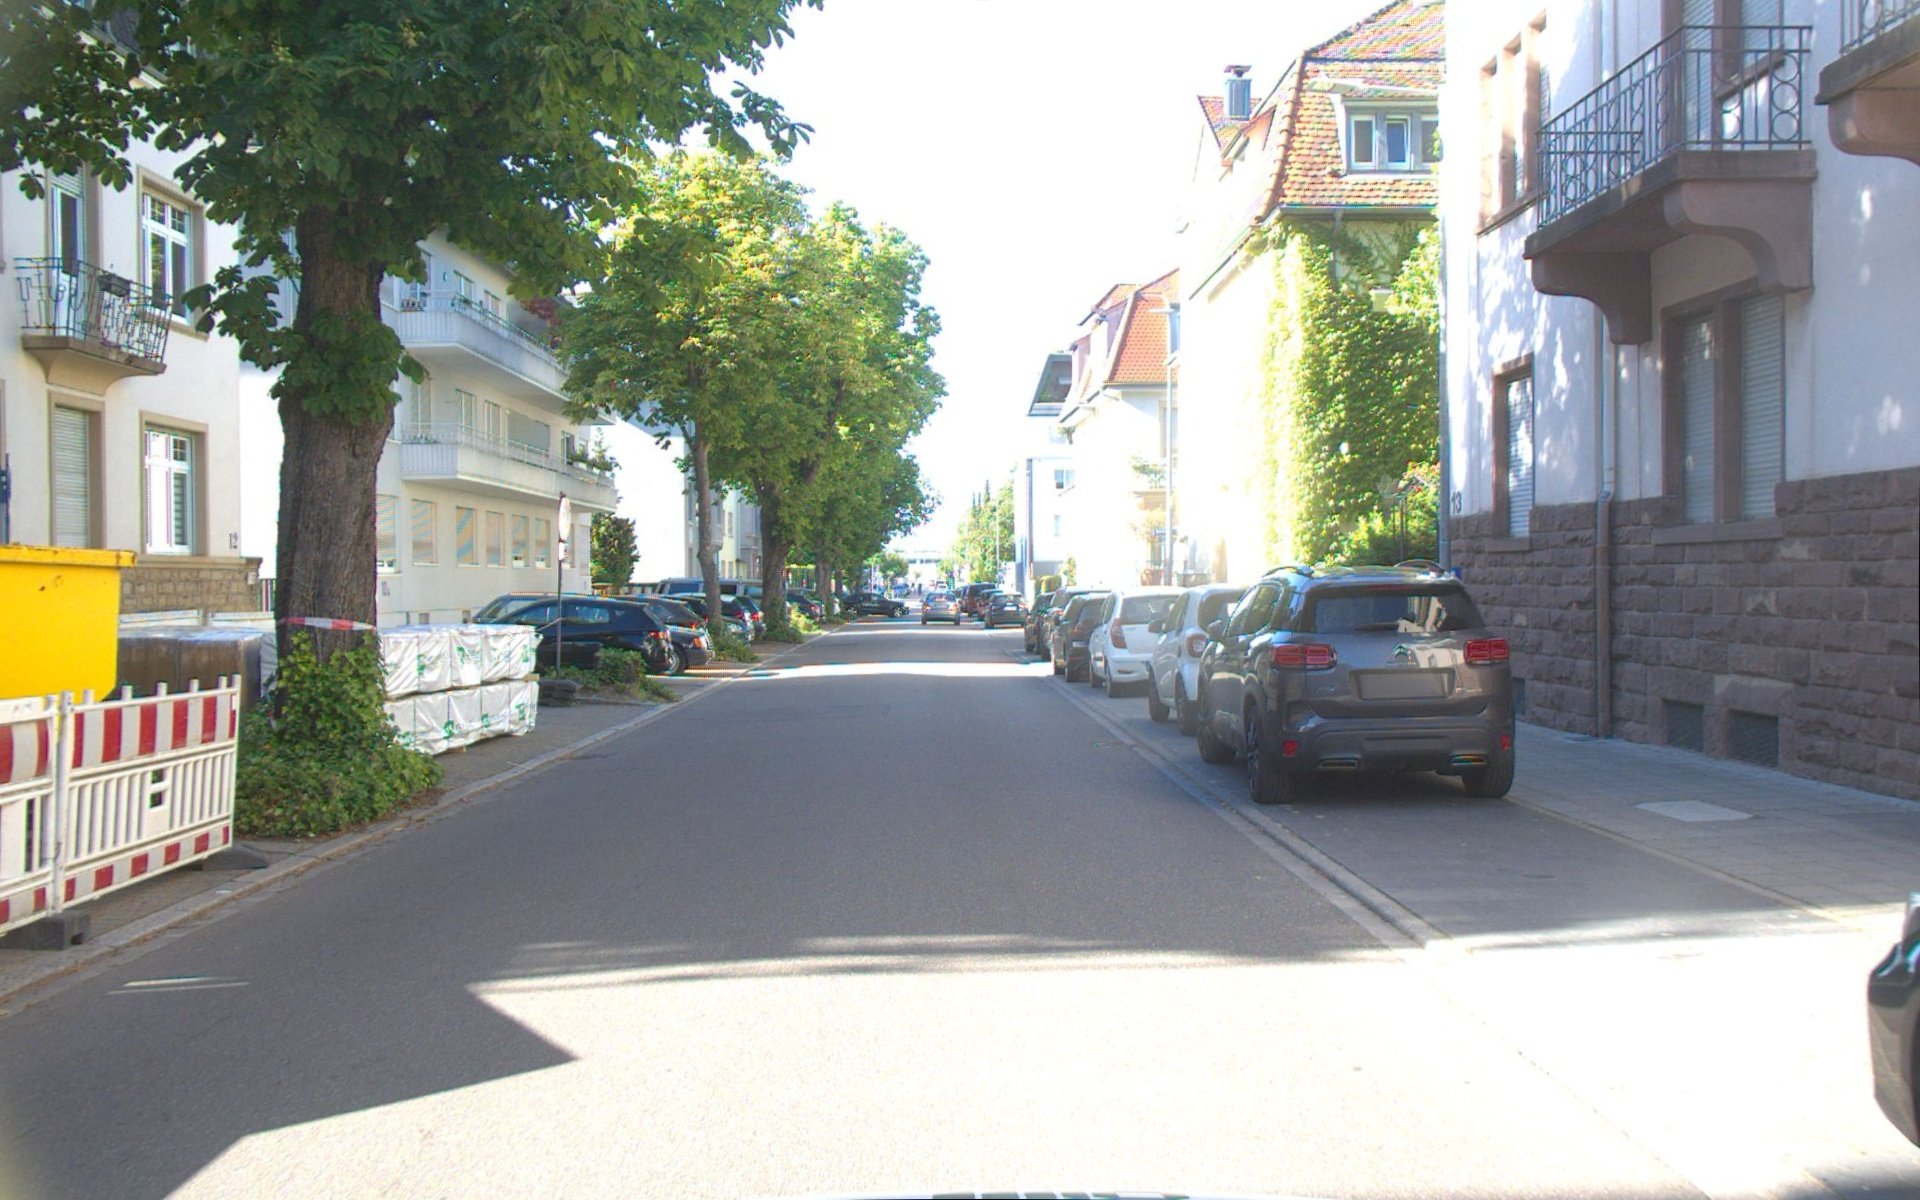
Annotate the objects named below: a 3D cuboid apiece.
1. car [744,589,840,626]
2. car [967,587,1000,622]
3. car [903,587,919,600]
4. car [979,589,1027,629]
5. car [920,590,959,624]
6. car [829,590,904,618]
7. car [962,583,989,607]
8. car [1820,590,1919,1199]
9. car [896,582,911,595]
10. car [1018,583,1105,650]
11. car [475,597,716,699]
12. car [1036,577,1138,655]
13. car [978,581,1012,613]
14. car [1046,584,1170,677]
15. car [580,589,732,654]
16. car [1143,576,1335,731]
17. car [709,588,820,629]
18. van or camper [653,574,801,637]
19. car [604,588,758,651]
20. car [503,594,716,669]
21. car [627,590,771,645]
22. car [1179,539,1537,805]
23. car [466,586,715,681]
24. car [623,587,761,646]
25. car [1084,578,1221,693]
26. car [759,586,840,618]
[{"bbox_3d":[-7.031,0.309,69.459,3.906,1.494,1.696,-1,0,-2],"label":"car"},{"bbox_3d":[1.340,0.261,96.590,1.833,1.938,5.197,-2,0,0],"label":"car"},{"bbox_3d":[-6.449,-0.857,217.144,1.836,1.758,3.995,-1,1,-6],"label":"car"},{"bbox_3d":[1.720,0.342,67.349,1.587,1.465,3.933,-3,1,-3],"label":"car"},{"bbox_3d":[-0.928,0.287,75.093,1.691,1.445,3.960,-1,0,0],"label":"car"},{"bbox_3d":[-5.322,0.240,94.362,4.103,1.473,1.712,2,-1,0],"label":"car"},{"bbox_3d":[1.053,-0.343,112.672,1.701,1.558,4.177,-1,0,-1],"label":"car"},{"bbox_3d":[3.150,0.730,2.182,1.610,1.479,4.502,0,0,-1],"label":"car"},{"bbox_3d":[-7.797,-1.562,228.638,1.752,1.558,3.997,4,1,-5],"label":"car"},{"bbox_3d":[2.509,0.411,41.592,1.629,1.547,3.998,-2,-1,-4],"label":"car"},{"bbox_3d":[-6.066,0.769,27.826,3.800,1.540,1.829,-2,0,-10],"label":"car"},{"bbox_3d":[2.712,0.349,36.218,1.755,1.547,4.365,-2,-1,-2],"label":"car"},{"bbox_3d":[1.767,-0.156,84.230,1.560,1.506,3.246,-2,0,-1],"label":"car"},{"bbox_3d":[2.548,0.526,29.428,1.675,1.461,4.191,-3,-1,-2],"label":"car"},{"bbox_3d":[-7.217,0.509,39.519,3.411,1.445,1.708,1,-1,-7],"label":"car"},{"bbox_3d":[3.029,0.562,18.434,1.592,1.576,2.868,1,-1,-2],"label":"car"},{"bbox_3d":[-7.557,0.312,64.128,4.103,1.525,1.860,-1,0,-3],"label":"car"},{"bbox_3d":[-7.322,0.172,52.250,4.406,1.948,1.963,0,0,-2],"label":"van or camper"},{"bbox_3d":[-7.041,0.476,41.994,3.569,1.488,1.710,1,0,1],"label":"car"},{"bbox_3d":[-7.279,0.636,34.663,4.103,1.466,1.712,-1,0,-3],"label":"car"},{"bbox_3d":[-7.345,0.481,46.822,3.844,1.439,1.714,1,1,-4],"label":"car"},{"bbox_3d":[2.943,0.503,13.191,1.742,1.726,4.319,2,-1,-1],"label":"car"},{"bbox_3d":[-7.033,0.609,31.850,4.506,1.635,1.829,-2,0,-10],"label":"car"},{"bbox_3d":[-7.177,0.431,44.506,3.407,1.483,1.797,1,0,0],"label":"car"},{"bbox_3d":[2.841,0.513,24.993,1.543,1.576,3.467,-2,-1,-2],"label":"car"},{"bbox_3d":[-8.195,0.077,84.641,3.941,1.510,1.806,2,0,-2],"label":"car"}]
